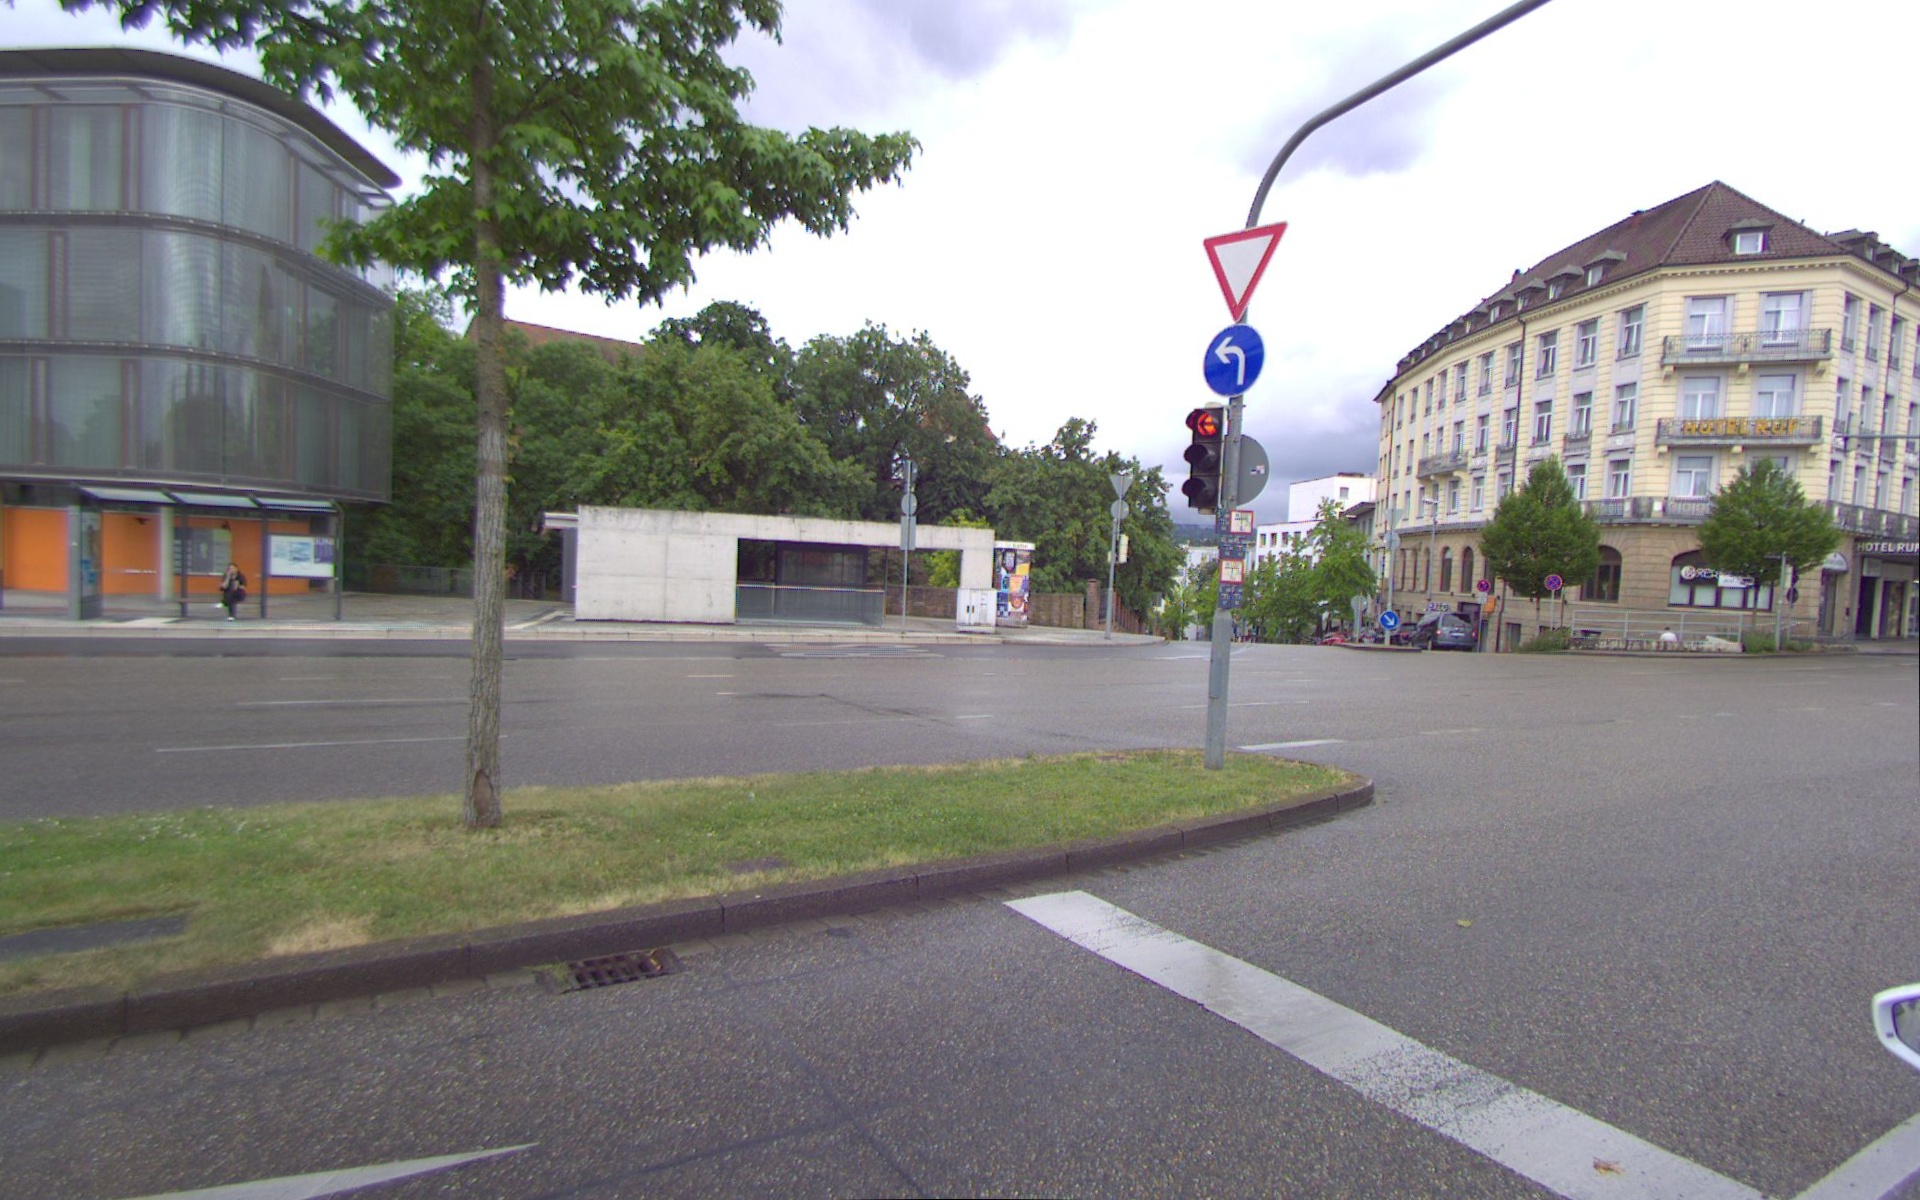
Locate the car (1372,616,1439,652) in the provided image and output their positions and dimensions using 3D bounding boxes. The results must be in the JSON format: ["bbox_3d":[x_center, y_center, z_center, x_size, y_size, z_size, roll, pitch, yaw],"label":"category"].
[{"bbox_3d":[22.853,1.708,51.710,1.959,1.662,4.002,2,0,6],"label":"car"}]

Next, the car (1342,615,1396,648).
[{"bbox_3d":[23.163,1.764,57.003,1.757,1.662,3.916,2,1,6],"label":"car"}]

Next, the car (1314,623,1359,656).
[{"bbox_3d":[23.586,2.468,63.057,1.741,1.836,3.624,2,1,7],"label":"car"}]

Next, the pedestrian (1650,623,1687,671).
[{"bbox_3d":[28.945,1.914,41.031,1.010,1.903,0.859,1,1,-30],"label":"pedestrian"}]

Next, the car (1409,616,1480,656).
[{"bbox_3d":[21.736,1.569,45.198,1.764,1.589,4.002,2,1,9],"label":"car"}]

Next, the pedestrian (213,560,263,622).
[{"bbox_3d":[-16.080,-0.189,22.385,0.780,1.341,0.798,1,1,-28],"label":"pedestrian"}]
